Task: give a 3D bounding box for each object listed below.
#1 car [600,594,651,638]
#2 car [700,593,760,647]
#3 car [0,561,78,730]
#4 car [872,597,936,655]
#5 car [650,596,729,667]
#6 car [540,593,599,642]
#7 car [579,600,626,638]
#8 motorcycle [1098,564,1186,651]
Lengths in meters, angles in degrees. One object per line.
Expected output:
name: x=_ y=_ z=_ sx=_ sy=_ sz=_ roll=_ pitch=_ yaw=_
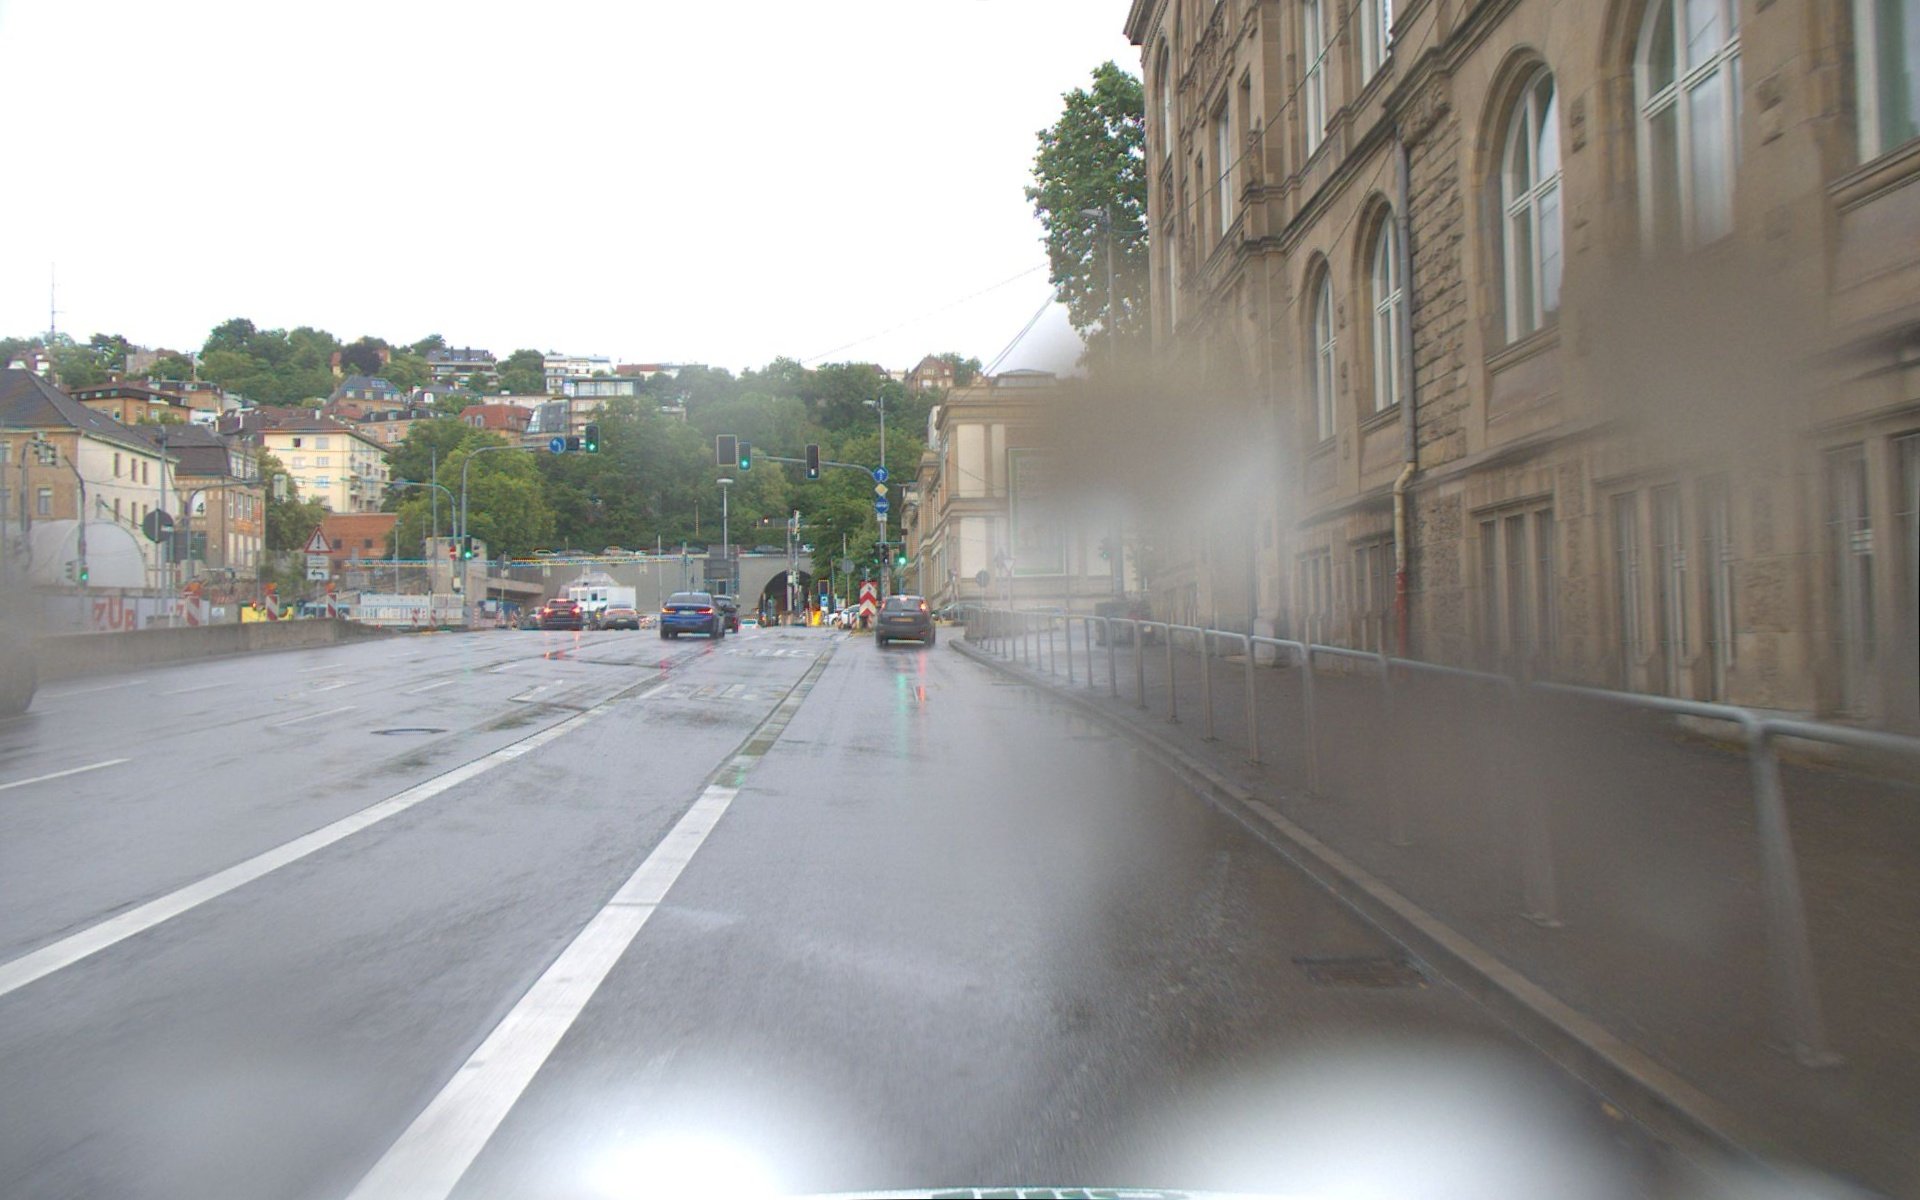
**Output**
car: x=-16.908 y=0.834 z=83.697 sx=2.011 sy=2.049 sz=3.995 roll=-2 pitch=-3 yaw=-5
car: x=-9.319 y=0.849 z=67.274 sx=1.739 sy=2.049 sz=4.000 roll=-2 pitch=-3 yaw=2
car: x=-11.678 y=0.480 z=17.607 sx=1.954 sy=1.889 sz=5.352 roll=0 pitch=-2 yaw=-4
car: x=-1.644 y=0.813 z=49.417 sx=1.775 sy=1.554 sz=3.998 roll=-2 pitch=-2 yaw=-2
car: x=-8.589 y=1.044 z=52.824 sx=2.063 sy=2.087 sz=3.996 roll=-2 pitch=-3 yaw=-4
car: x=-17.864 y=0.849 z=75.806 sx=1.977 sy=2.049 sz=3.996 roll=-2 pitch=-3 yaw=-4
car: x=-21.124 y=1.163 z=97.910 sx=1.953 sy=2.049 sz=3.998 roll=-2 pitch=-3 yaw=-2
motorcycle: x=4.539 y=0.184 z=41.713 sx=1.759 sy=2.049 sz=3.812 roll=-1 pitch=0 yaw=0
